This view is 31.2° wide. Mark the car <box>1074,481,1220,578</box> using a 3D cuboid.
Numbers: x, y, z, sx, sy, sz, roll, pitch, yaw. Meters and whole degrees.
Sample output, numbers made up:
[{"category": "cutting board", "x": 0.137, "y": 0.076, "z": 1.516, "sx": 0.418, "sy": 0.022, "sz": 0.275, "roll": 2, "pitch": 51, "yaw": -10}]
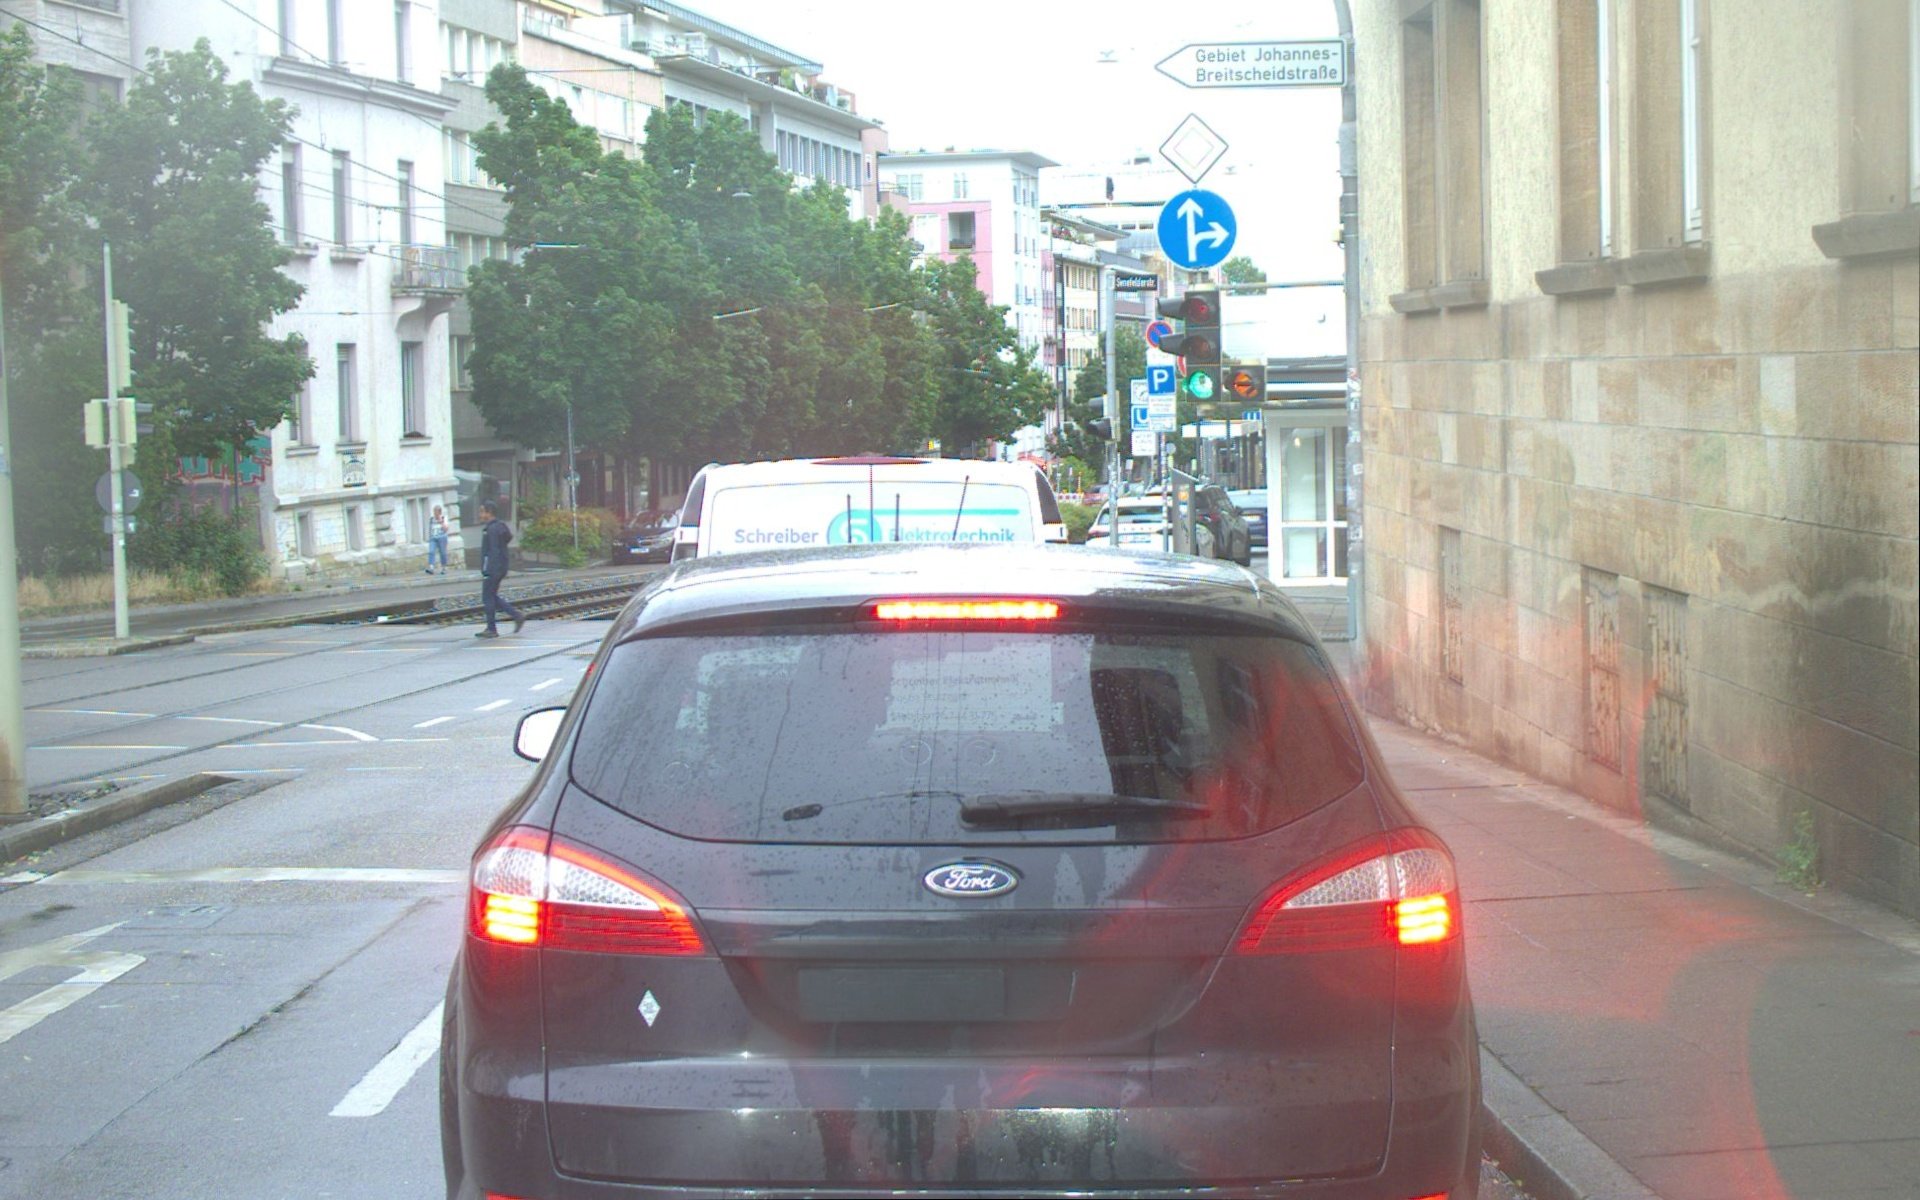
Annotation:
[{"category": "car", "x": 3.085, "y": -1.144, "z": 55.858, "sx": 1.802, "sy": 1.450, "sz": 4.585, "roll": -2, "pitch": 1, "yaw": 10}]

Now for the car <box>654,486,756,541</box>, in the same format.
[{"category": "car", "x": -7.357, "y": -2.484, "z": 99.626, "sx": 1.856, "sy": 1.543, "sz": 4.719, "roll": 0, "pitch": 1, "yaw": 10}]

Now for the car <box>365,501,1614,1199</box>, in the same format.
[{"category": "car", "x": 0.014, "y": 0.586, "z": 7.104, "sx": 1.842, "sy": 1.502, "sz": 4.000, "roll": 1, "pitch": 1, "yaw": -1}]

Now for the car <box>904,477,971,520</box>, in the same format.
[{"category": "car", "x": -0.882, "y": -4.115, "z": 139.776, "sx": 1.856, "sy": 1.631, "sz": 4.933, "roll": 0, "pitch": 1, "yaw": 10}]

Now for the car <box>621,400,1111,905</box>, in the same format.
[{"category": "car", "x": -0.448, "y": 0.187, "z": 16.431, "sx": 1.988, "sy": 2.053, "sz": 4.645, "roll": 1, "pitch": 1, "yaw": -2}]

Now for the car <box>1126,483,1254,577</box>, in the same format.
[{"category": "car", "x": 4.254, "y": -1.283, "z": 63.040, "sx": 1.846, "sy": 1.627, "sz": 4.585, "roll": -1, "pitch": 1, "yaw": 10}]

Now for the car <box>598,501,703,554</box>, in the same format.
[{"category": "car", "x": -8.399, "y": -1.965, "z": 93.735, "sx": 1.694, "sy": 1.373, "sz": 4.719, "roll": 0, "pitch": 0, "yaw": 10}]

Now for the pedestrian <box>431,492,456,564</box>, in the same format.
[{"category": "pedestrian", "x": -12.016, "y": -1.670, "z": 79.989, "sx": 0.467, "sy": 1.646, "sz": 0.582, "roll": 1, "pitch": 1, "yaw": -2}]

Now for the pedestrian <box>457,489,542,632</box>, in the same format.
[{"category": "pedestrian", "x": -6.012, "y": -0.515, "z": 44.927, "sx": 0.930, "sy": 1.823, "sz": 0.959, "roll": 1, "pitch": 1, "yaw": 2}]
